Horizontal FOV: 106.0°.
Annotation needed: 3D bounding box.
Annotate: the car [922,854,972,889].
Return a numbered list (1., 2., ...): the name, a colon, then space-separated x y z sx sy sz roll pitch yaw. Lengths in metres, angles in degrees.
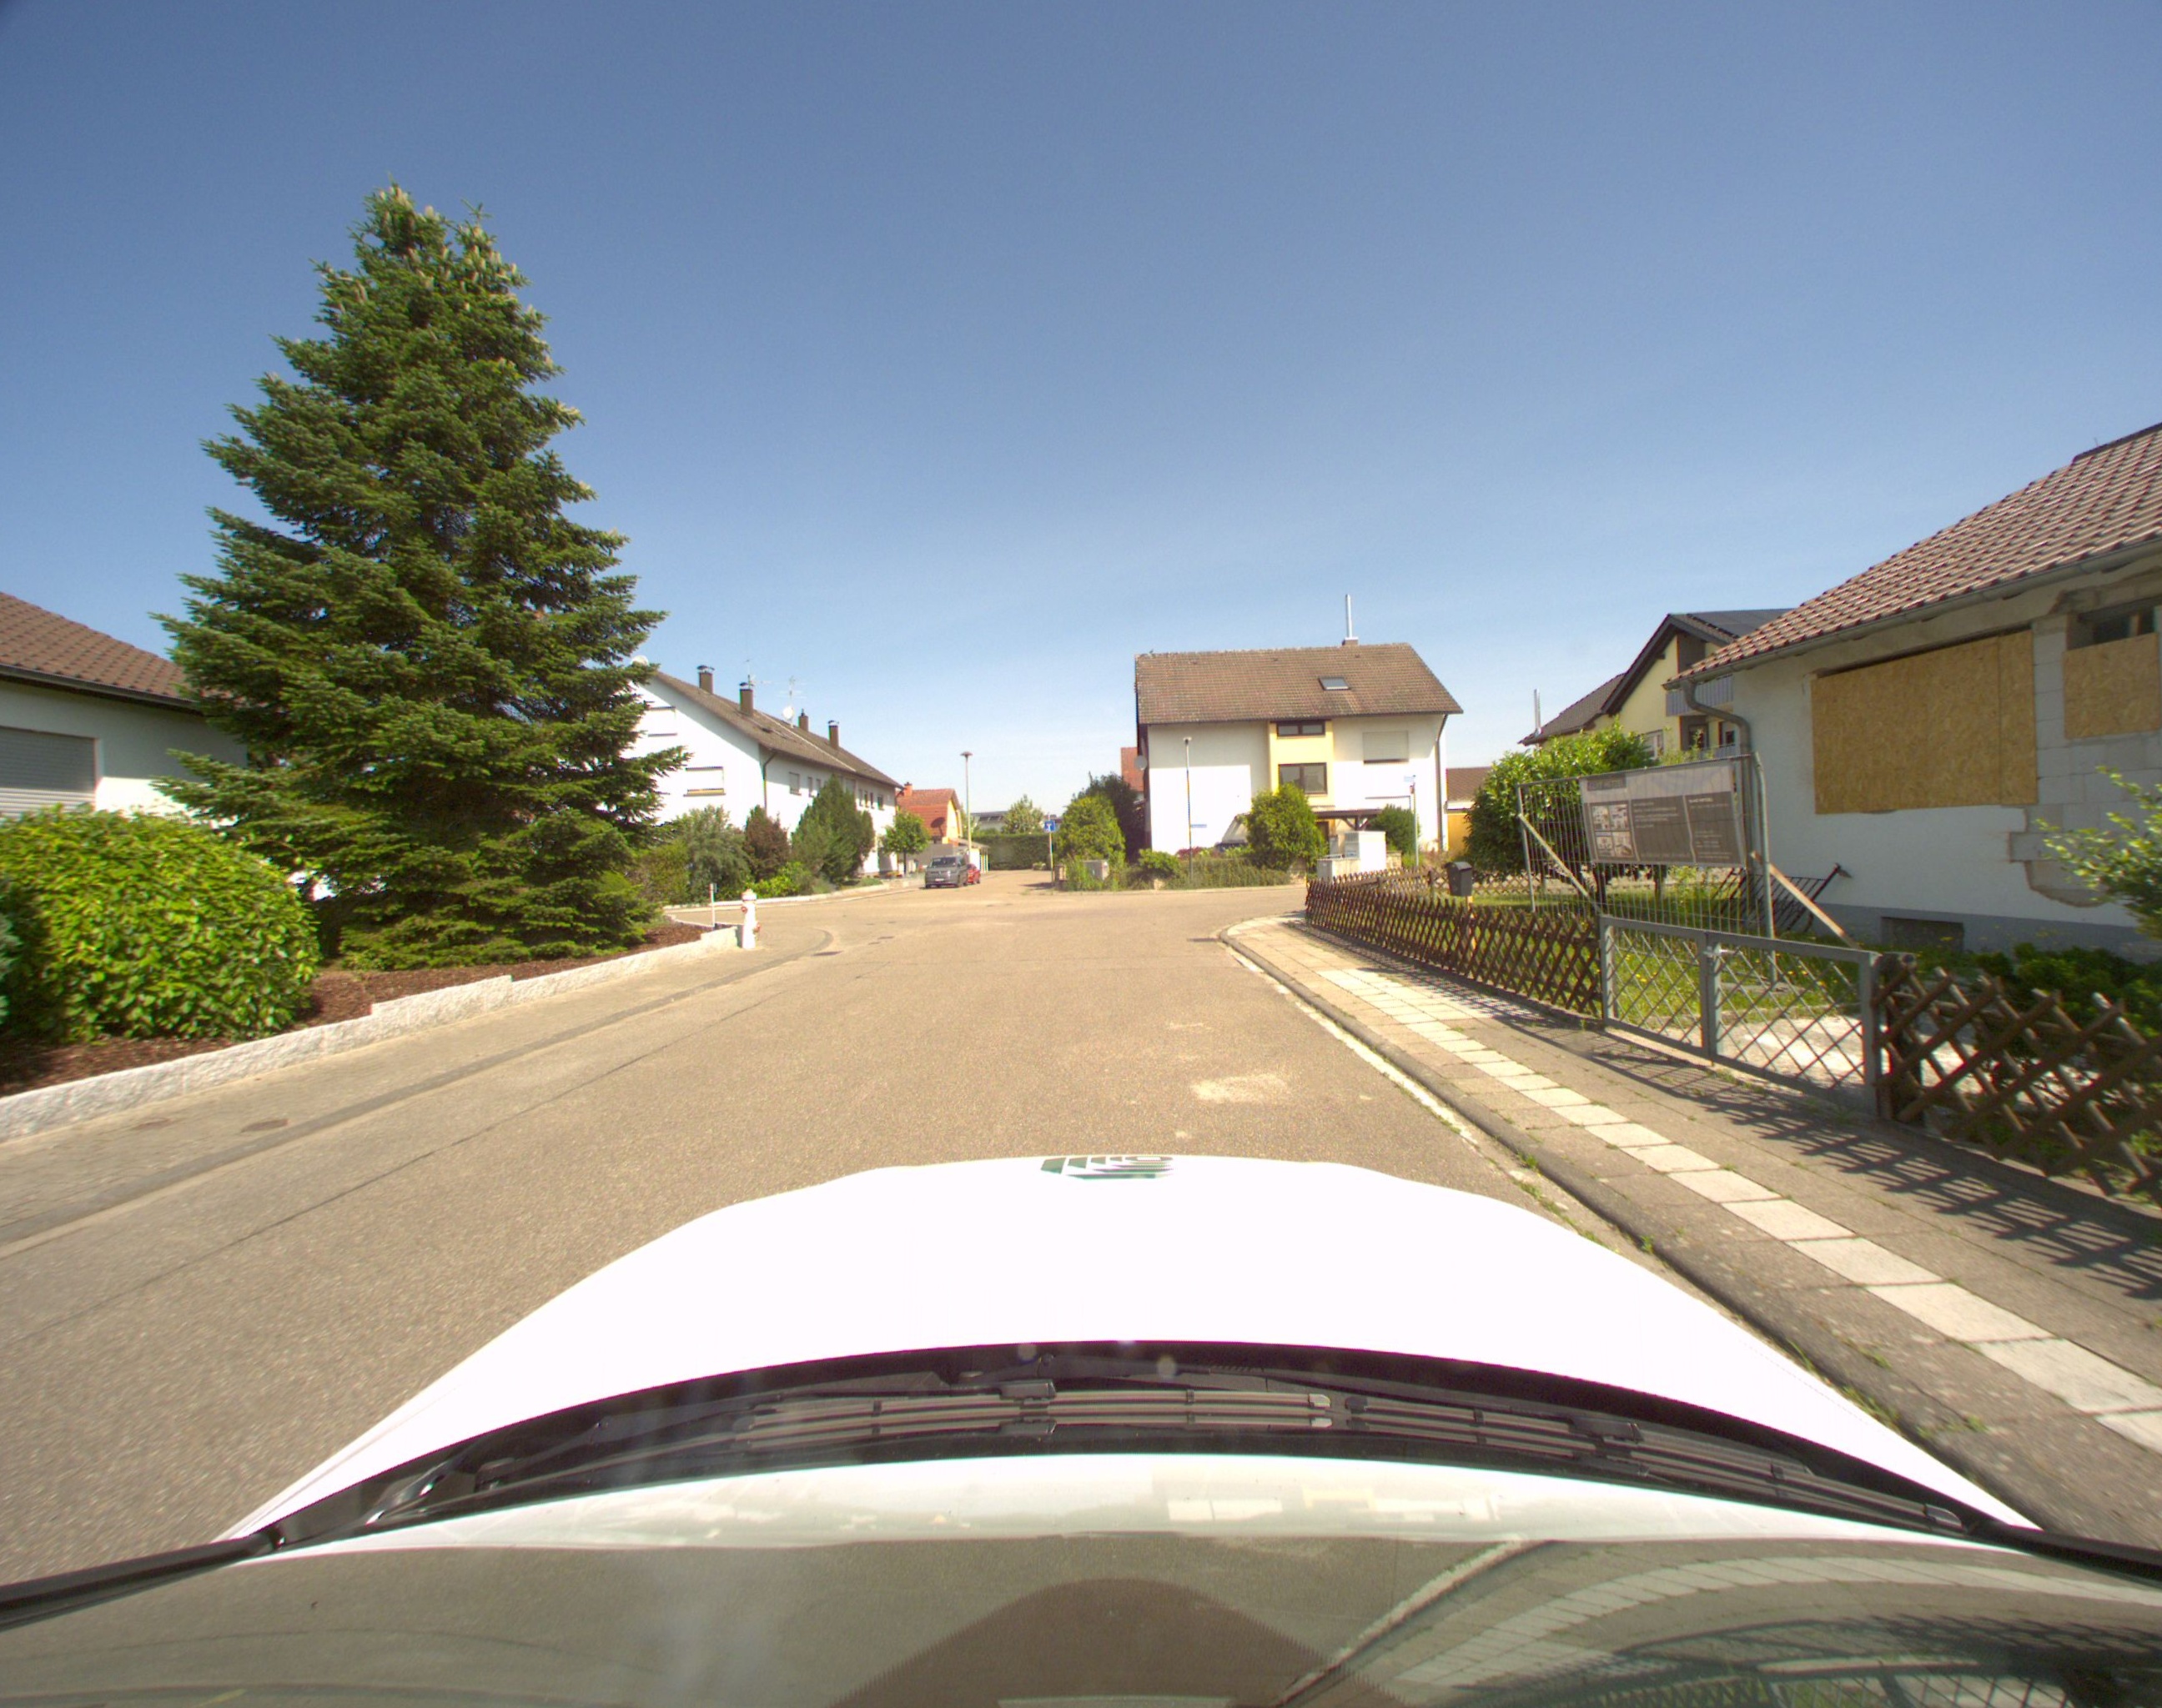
1. car: -7.831 0.974 47.883 1.893 1.869 4.375 -2 0 3

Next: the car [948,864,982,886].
1. car: -7.777 1.385 54.758 1.646 1.365 3.778 -2 0 0
